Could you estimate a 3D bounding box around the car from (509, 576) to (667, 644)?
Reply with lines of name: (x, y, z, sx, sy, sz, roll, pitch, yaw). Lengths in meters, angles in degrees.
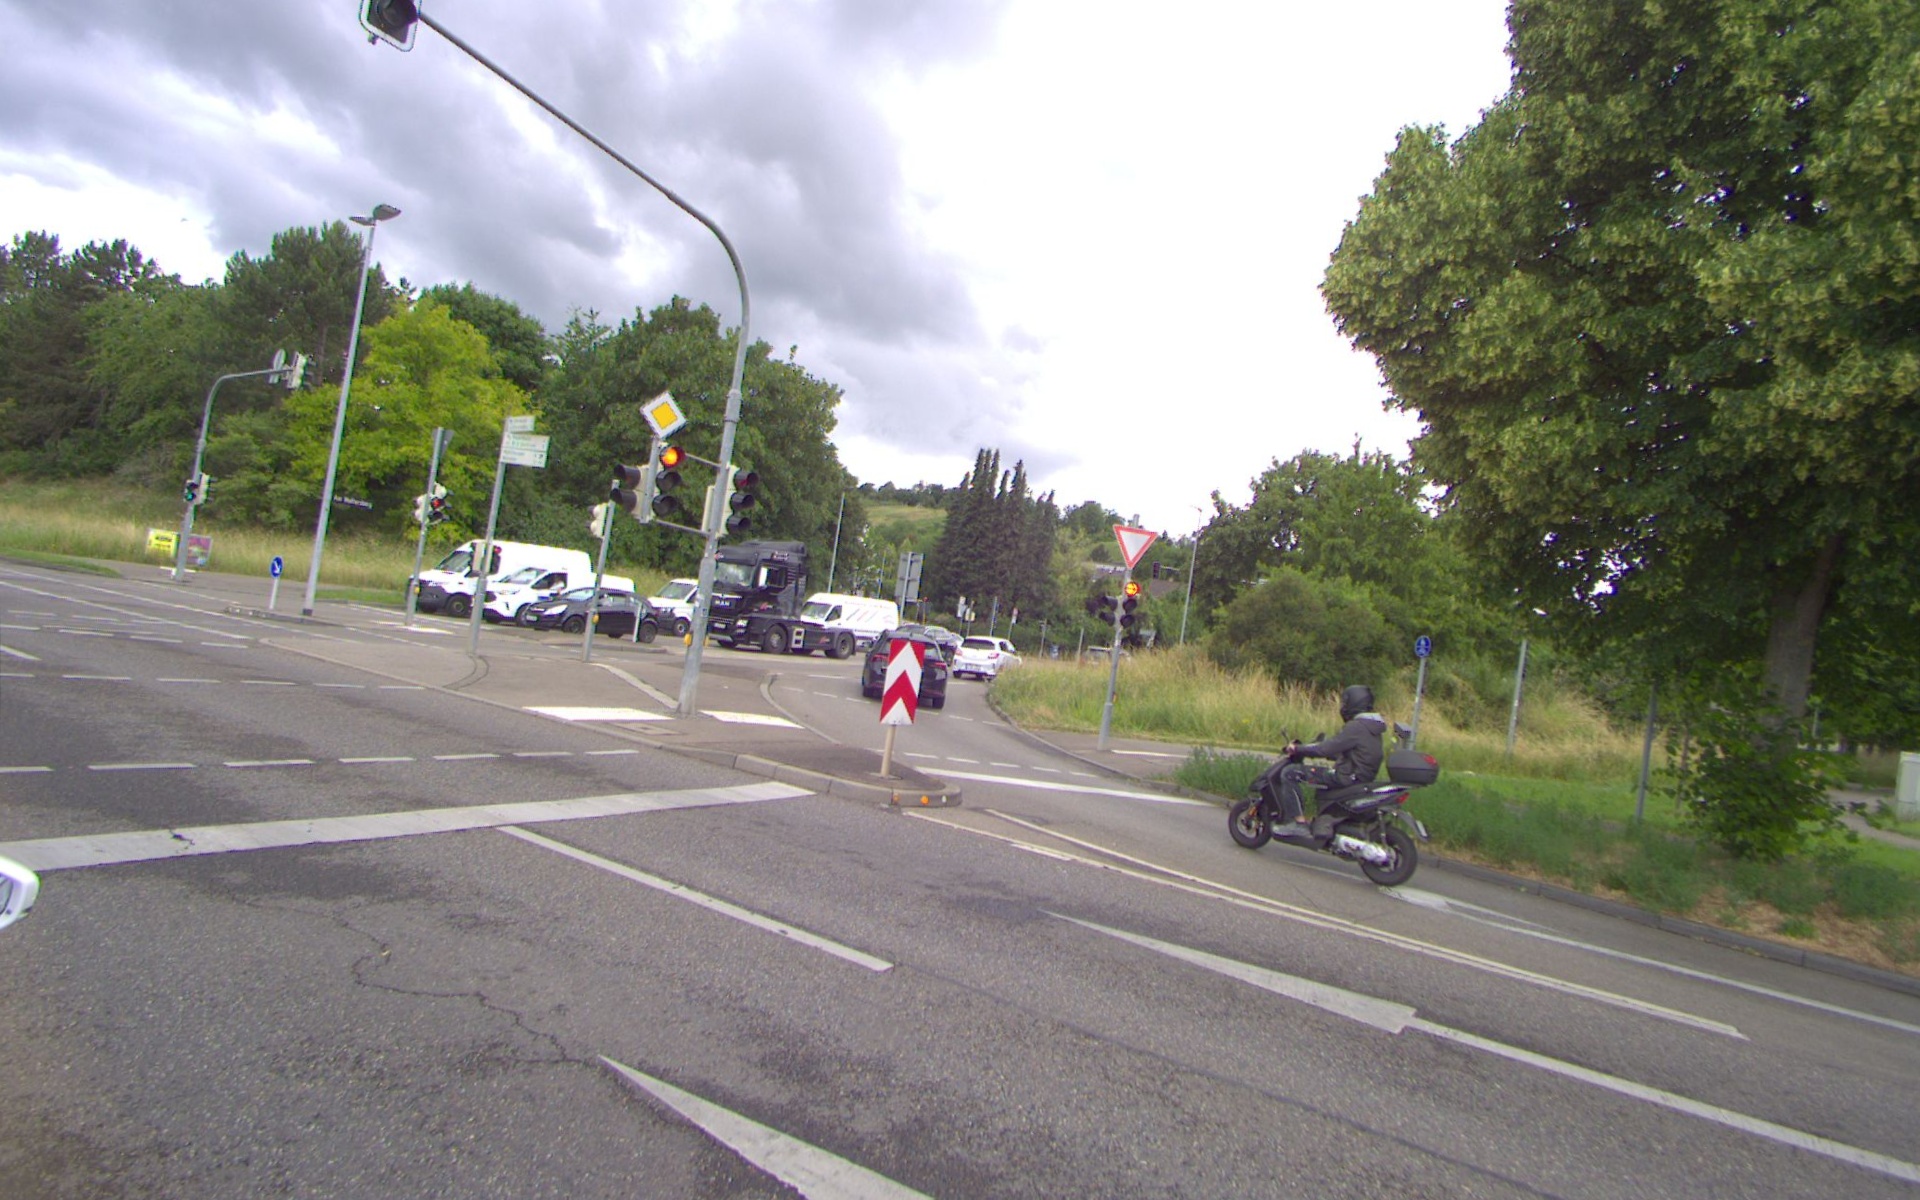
car: (-10.607, 0.334, 28.936, 1.703, 1.453, 3.927, 7, -1, 31)

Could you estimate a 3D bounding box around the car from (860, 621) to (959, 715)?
car: (-1.216, 1.409, 22.199, 1.756, 1.463, 4.522, 9, 0, -6)

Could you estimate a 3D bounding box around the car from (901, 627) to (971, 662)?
car: (-1.272, 2.442, 54.448, 1.704, 1.453, 3.925, 7, -1, 33)

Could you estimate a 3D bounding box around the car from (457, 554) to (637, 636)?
car: (-12.935, -0.096, 31.822, 1.999, 1.918, 4.862, 7, -1, 31)

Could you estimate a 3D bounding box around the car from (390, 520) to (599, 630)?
car: (-15.338, -0.737, 33.604, 2.100, 2.814, 5.903, 7, -1, 32)

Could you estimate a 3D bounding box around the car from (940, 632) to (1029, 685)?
car: (0.913, 1.992, 34.297, 1.753, 1.460, 3.835, 9, 0, 19)

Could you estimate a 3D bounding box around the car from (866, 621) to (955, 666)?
car: (-2.025, 1.841, 42.141, 1.703, 1.453, 3.927, 7, -1, 31)

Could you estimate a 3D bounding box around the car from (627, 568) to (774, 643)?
car: (-10.428, 0.288, 40.912, 2.100, 2.316, 5.709, 7, -1, 32)

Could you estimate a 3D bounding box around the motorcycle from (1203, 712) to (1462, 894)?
motorcycle: (3.290, 1.769, 9.043, 0.746, 1.159, 1.920, 11, -3, -42)

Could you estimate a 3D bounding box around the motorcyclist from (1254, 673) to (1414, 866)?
motorcyclist: (3.353, 1.506, 9.028, 0.746, 1.506, 0.922, 11, -2, -43)

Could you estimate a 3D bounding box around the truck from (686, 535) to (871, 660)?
truck: (-6.213, 0.023, 35.347, 2.682, 3.580, 6.061, 7, -1, 32)

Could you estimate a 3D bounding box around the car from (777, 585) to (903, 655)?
car: (-5.669, 1.050, 48.626, 2.160, 2.640, 6.509, 7, -1, 32)

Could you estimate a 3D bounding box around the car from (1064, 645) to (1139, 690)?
car: (6.411, 3.073, 45.291, 1.756, 1.668, 4.423, 6, -3, 29)
